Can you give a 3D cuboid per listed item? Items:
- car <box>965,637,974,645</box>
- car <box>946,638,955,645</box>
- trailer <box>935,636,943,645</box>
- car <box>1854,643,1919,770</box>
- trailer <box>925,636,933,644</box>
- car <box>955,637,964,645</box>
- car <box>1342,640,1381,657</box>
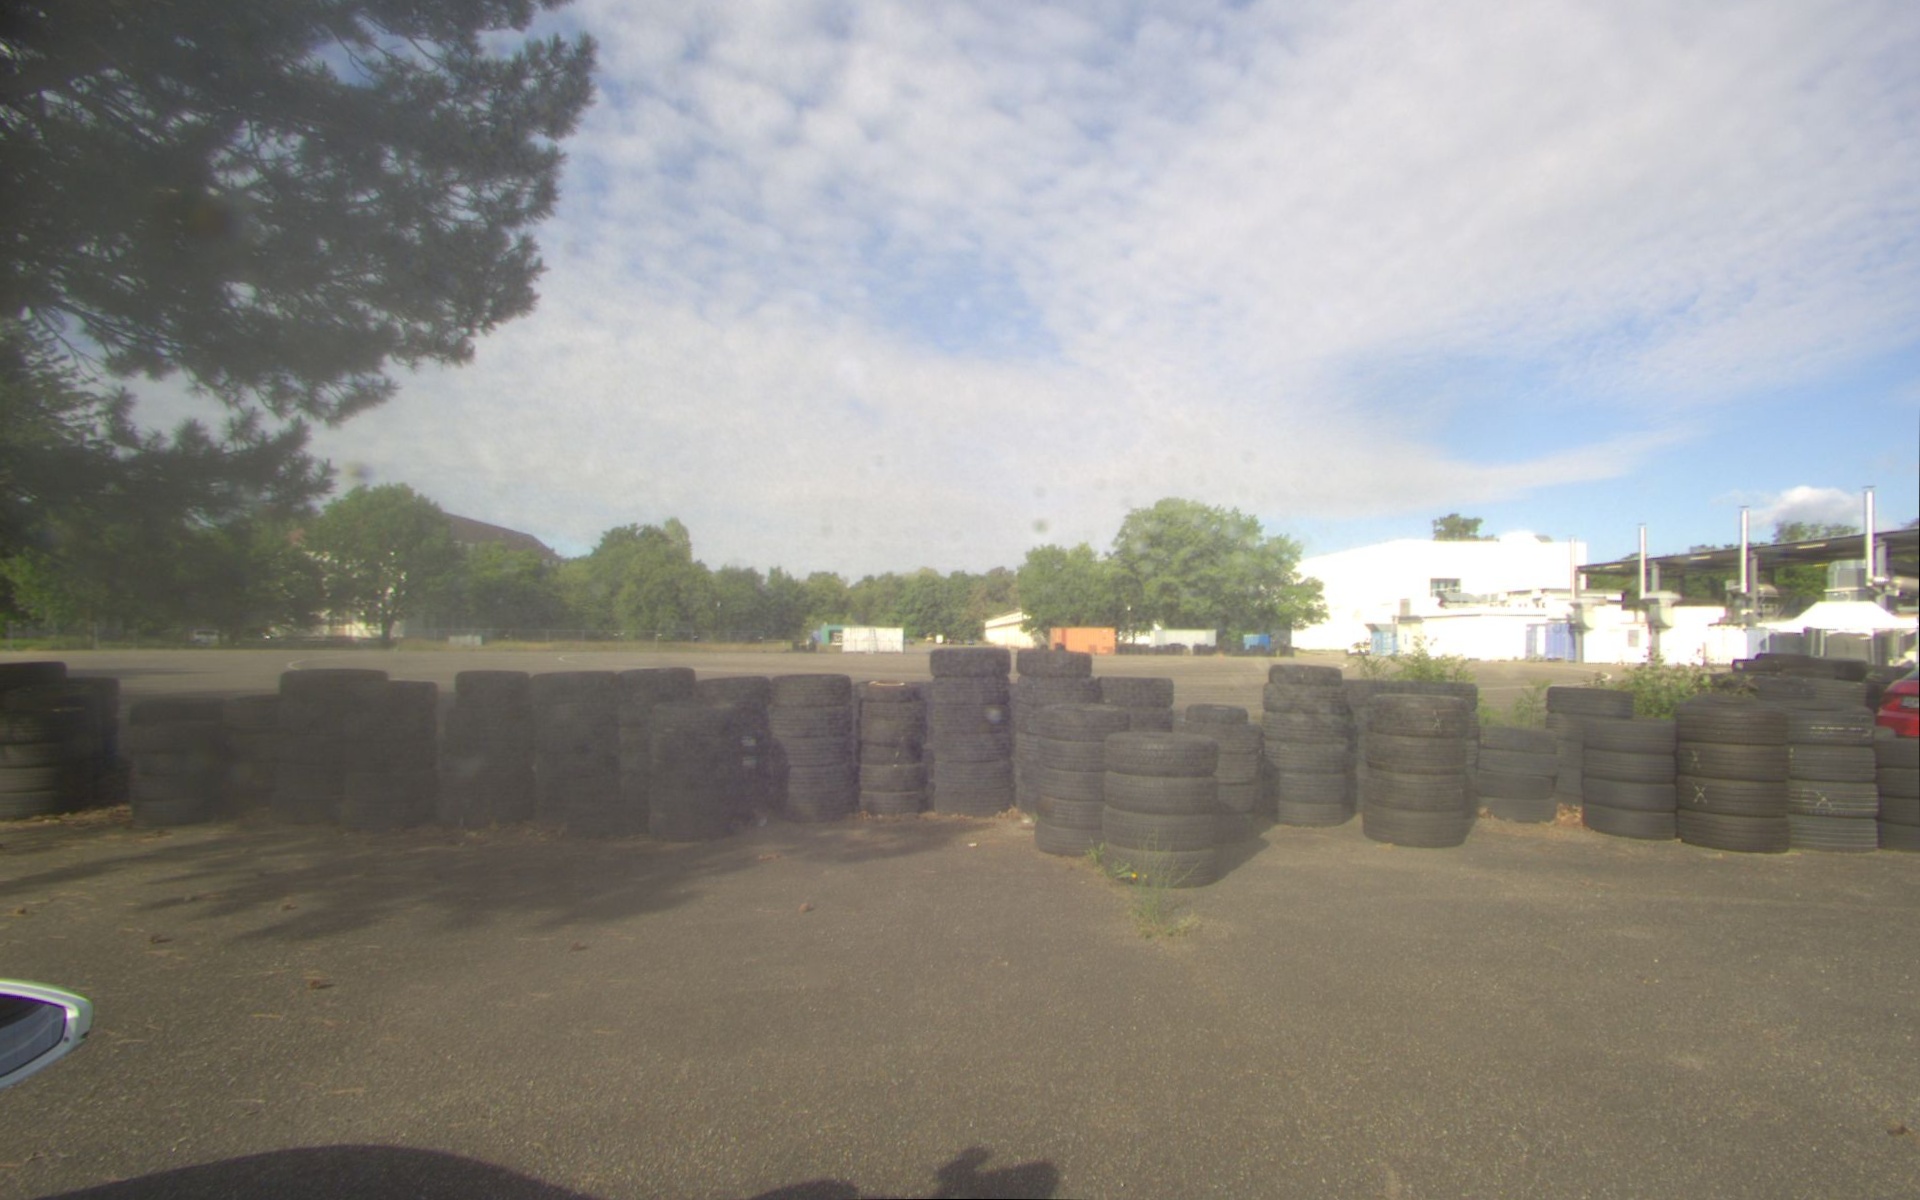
[{"bbox_3d":[2.381,10.106,247.249,1.961,1.772,4.001,1,-2,-5],"label":"car"},{"bbox_3d":[-2.340,10.165,246.855,1.961,1.772,4.001,1,-2,-5],"label":"car"},{"bbox_3d":[-5.227,10.054,248.377,2.025,2.039,4.002,1,-2,-3],"label":"trailer"},{"bbox_3d":[13.238,1.280,11.692,3.922,1.482,1.729,1,-2,4],"label":"car"},{"bbox_3d":[-7.707,10.024,249.611,1.961,2.039,4.001,1,-2,-4],"label":"trailer"},{"bbox_3d":[-0.116,10.171,247.138,1.999,1.831,4.001,1,-2,-5],"label":"car"},{"bbox_3d":[41.248,4.972,102.966,1.839,1.584,4.549,1,-2,-4],"label":"car"}]
